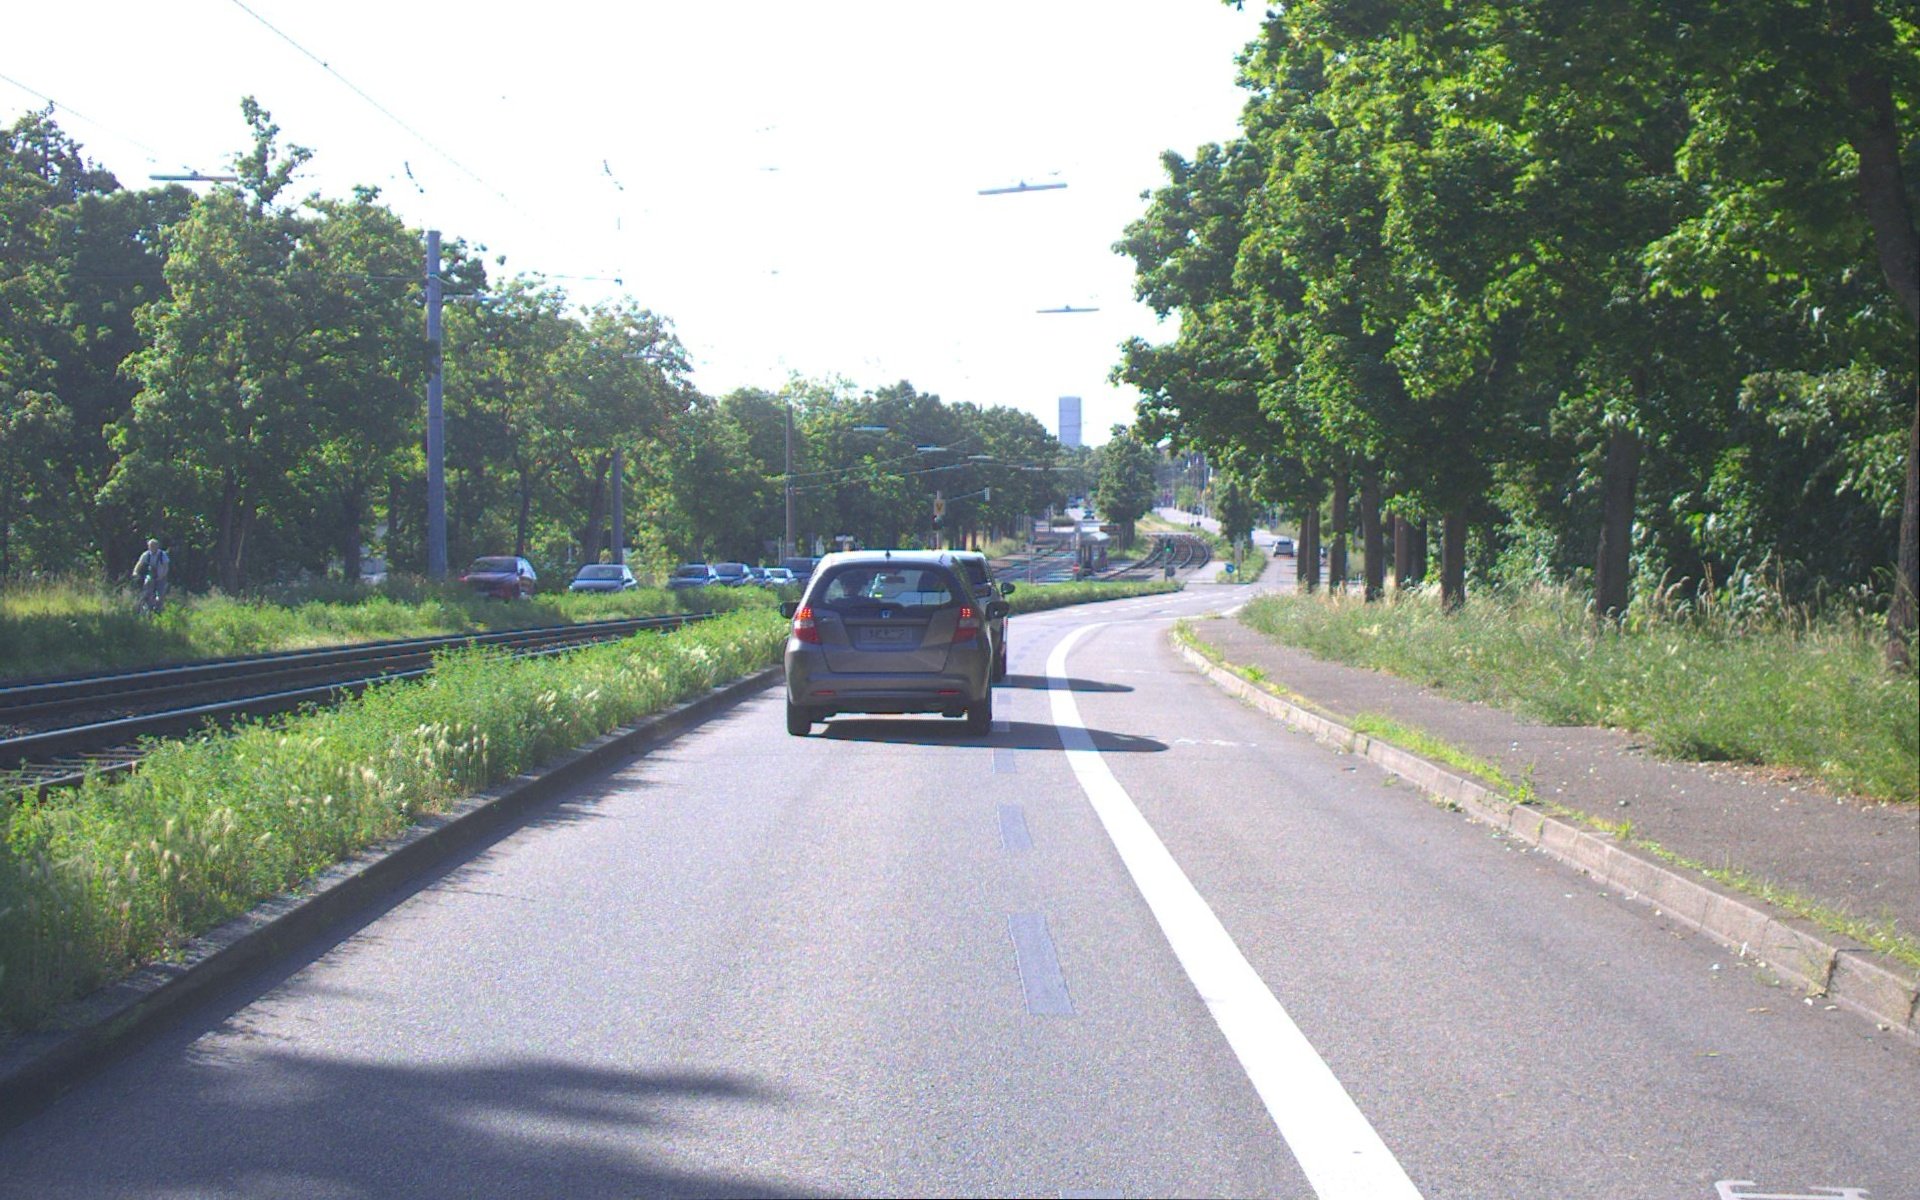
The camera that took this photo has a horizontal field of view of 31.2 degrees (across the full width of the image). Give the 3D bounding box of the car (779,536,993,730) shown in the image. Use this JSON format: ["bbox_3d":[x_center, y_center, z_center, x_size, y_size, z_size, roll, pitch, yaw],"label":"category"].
[{"bbox_3d":[-0.620,0.287,29.335,1.670,1.502,3.811,1,-1,-1],"label":"car"}]

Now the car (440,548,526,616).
[{"bbox_3d":[-14.924,-0.591,107.679,1.993,1.869,4.001,2,3,2],"label":"car"}]

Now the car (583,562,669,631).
[{"bbox_3d":[-9.797,-0.121,100.961,1.993,1.710,4.001,2,3,2],"label":"car"}]

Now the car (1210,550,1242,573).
[{"bbox_3d":[17.632,-2.573,227.723,1.655,1.308,3.810,2,4,11],"label":"car"}]

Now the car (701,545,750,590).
[{"bbox_3d":[-10.071,-1.403,147.763,1.701,1.678,4.001,2,3,2],"label":"car"}]

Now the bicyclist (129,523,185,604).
[{"bbox_3d":[-15.534,-0.716,66.535,0.790,1.484,1.109,2,3,1],"label":"bicyclist"}]

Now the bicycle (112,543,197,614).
[{"bbox_3d":[-15.558,-0.433,66.504,0.789,1.191,3.169,2,3,2],"label":"bicycle"}]

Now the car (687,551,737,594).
[{"bbox_3d":[-10.185,-1.139,141.573,1.623,1.546,4.001,2,3,2],"label":"car"}]

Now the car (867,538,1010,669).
[{"bbox_3d":[-0.281,0.030,42.685,1.654,1.502,3.811,1,0,-1],"label":"car"}]
